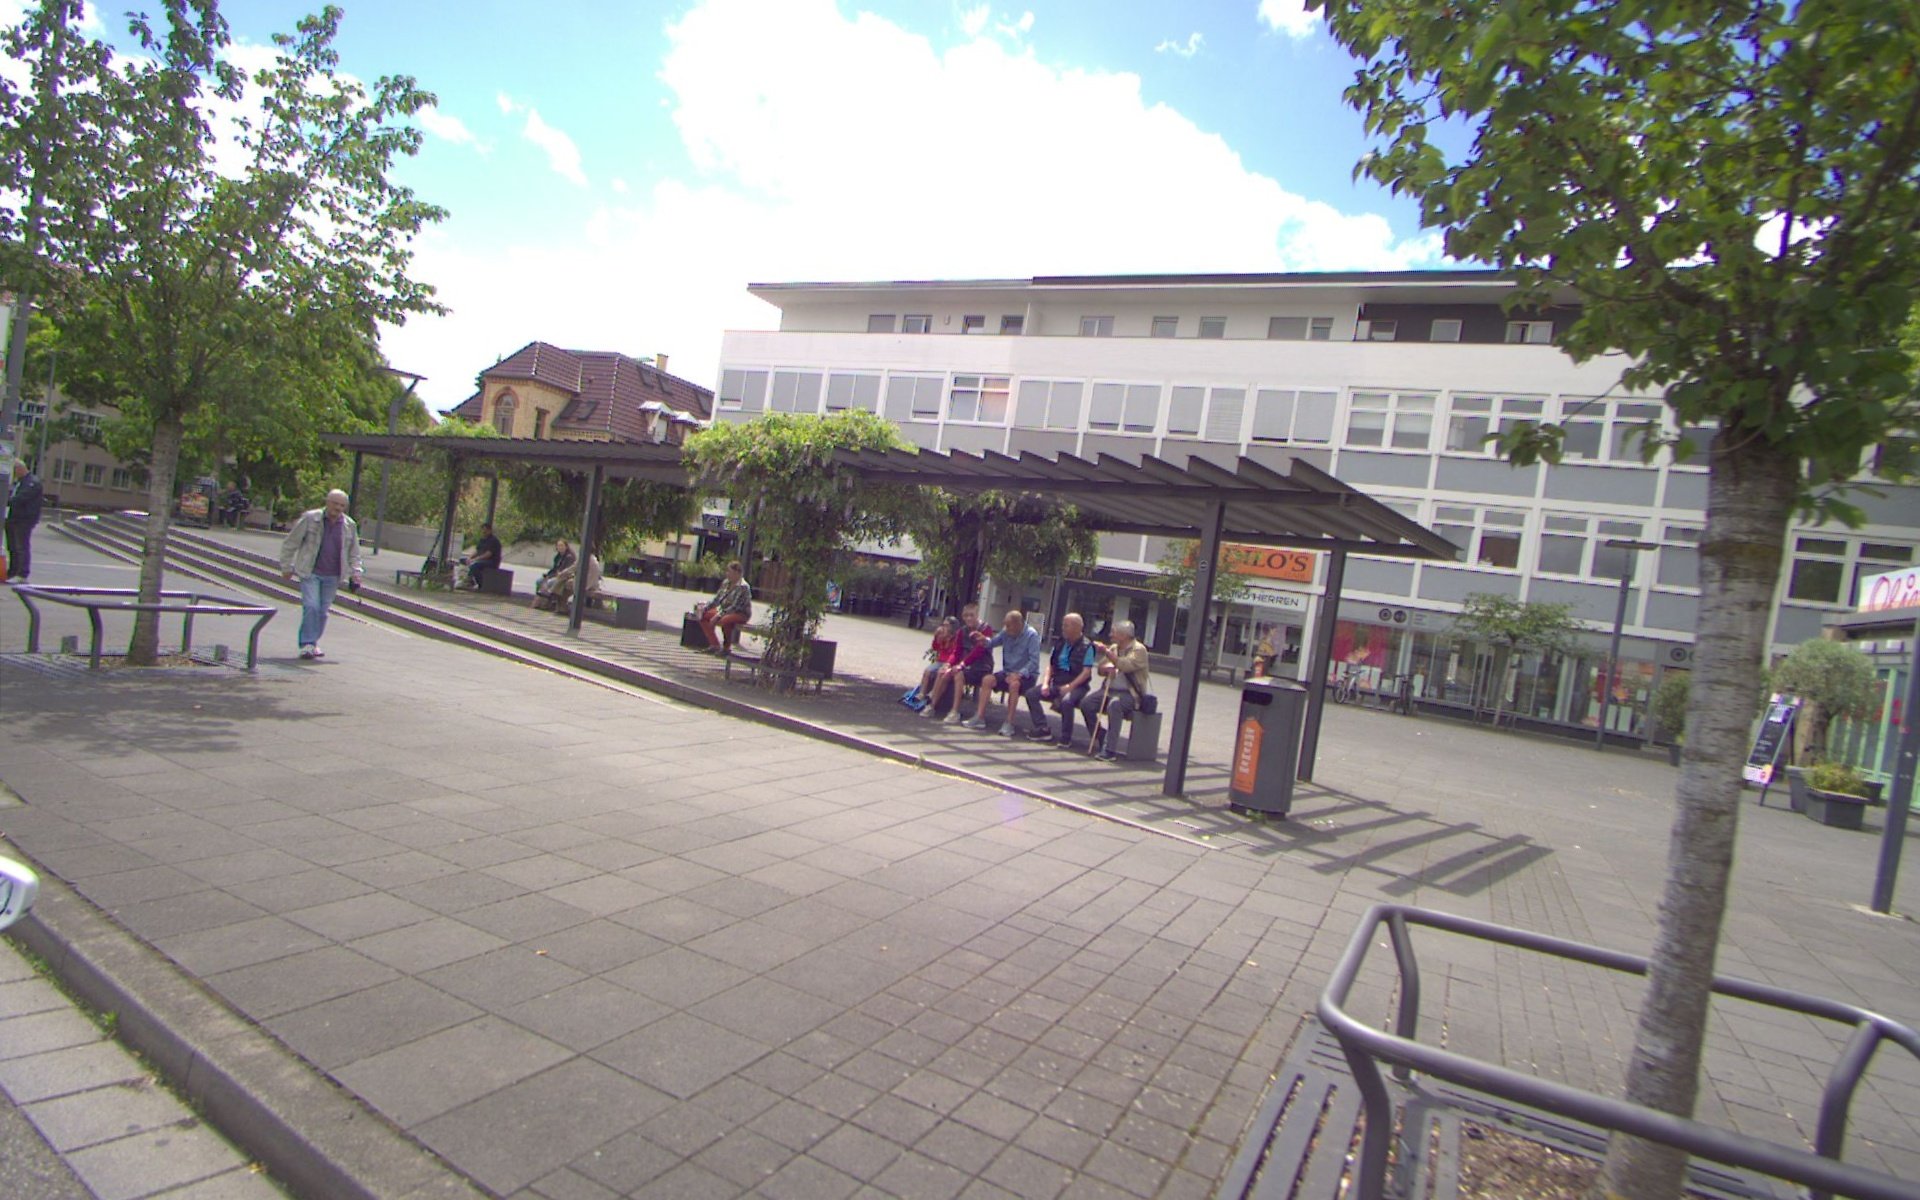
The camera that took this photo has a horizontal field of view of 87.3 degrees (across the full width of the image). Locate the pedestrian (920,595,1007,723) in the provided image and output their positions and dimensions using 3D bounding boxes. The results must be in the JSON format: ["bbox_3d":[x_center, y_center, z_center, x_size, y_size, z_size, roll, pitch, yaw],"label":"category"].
[{"bbox_3d":[0.037,0.634,10.841,0.533,1.278,0.568,10,2,37],"label":"pedestrian"}]

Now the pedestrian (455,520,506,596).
[{"bbox_3d":[-9.168,-0.804,19.232,0.538,1.339,0.567,7,0,42],"label":"pedestrian"}]

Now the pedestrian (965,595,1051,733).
[{"bbox_3d":[0.504,0.666,10.463,0.517,1.337,0.498,10,3,37],"label":"pedestrian"}]

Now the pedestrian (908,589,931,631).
[{"bbox_3d":[-1.359,0.329,33.865,0.535,1.339,0.570,8,0,7],"label":"pedestrian"}]

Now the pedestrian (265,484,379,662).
[{"bbox_3d":[-6.505,-0.275,10.257,0.705,1.703,0.683,7,1,44],"label":"pedestrian"}]

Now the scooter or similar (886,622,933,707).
[{"bbox_3d":[-0.593,0.749,11.698,0.246,0.905,0.503,8,2,-26],"label":"scooter or similar"}]

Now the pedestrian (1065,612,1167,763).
[{"bbox_3d":[1.518,0.845,9.761,0.576,1.337,0.616,10,2,36],"label":"pedestrian"}]

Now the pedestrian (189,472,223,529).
[{"bbox_3d":[-21.642,-2.857,28.873,0.446,1.527,0.503,8,1,30],"label":"pedestrian"}]

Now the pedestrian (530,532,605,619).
[{"bbox_3d":[-6.471,-0.395,16.599,0.756,1.284,0.677,8,0,12],"label":"pedestrian"}]

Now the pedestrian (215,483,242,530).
[{"bbox_3d":[-21.508,-2.761,29.571,0.631,1.301,0.363,8,1,38],"label":"pedestrian"}]

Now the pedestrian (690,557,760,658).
[{"bbox_3d":[-3.297,0.104,14.114,0.537,1.324,0.623,8,2,37],"label":"pedestrian"}]

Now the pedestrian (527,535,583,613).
[{"bbox_3d":[-6.985,-0.451,17.354,0.558,1.242,0.567,7,0,42],"label":"pedestrian"}]

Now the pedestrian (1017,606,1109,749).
[{"bbox_3d":[1.044,0.780,10.187,0.566,1.337,0.495,10,3,36],"label":"pedestrian"}]

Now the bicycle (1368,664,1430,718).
[{"bbox_3d":[12.077,2.481,27.726,0.675,1.157,2.025,7,2,0],"label":"bicycle"}]

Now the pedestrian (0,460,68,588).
[{"bbox_3d":[-13.026,-1.059,14.115,0.567,1.701,0.511,7,1,33],"label":"pedestrian"}]

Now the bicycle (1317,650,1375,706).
[{"bbox_3d":[10.892,2.174,28.464,0.675,1.324,2.025,7,1,0],"label":"bicycle"}]

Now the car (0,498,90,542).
[{"bbox_3d":[-38.290,-3.330,41.567,1.587,1.399,3.831,8,-1,-9],"label":"car"}]

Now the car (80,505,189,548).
[{"bbox_3d":[-43.291,-3.837,52.804,4.239,1.596,1.827,7,0,-42],"label":"car"}]

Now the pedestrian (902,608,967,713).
[{"bbox_3d":[-0.282,0.676,11.220,0.362,1.103,0.476,10,2,37],"label":"pedestrian"}]
